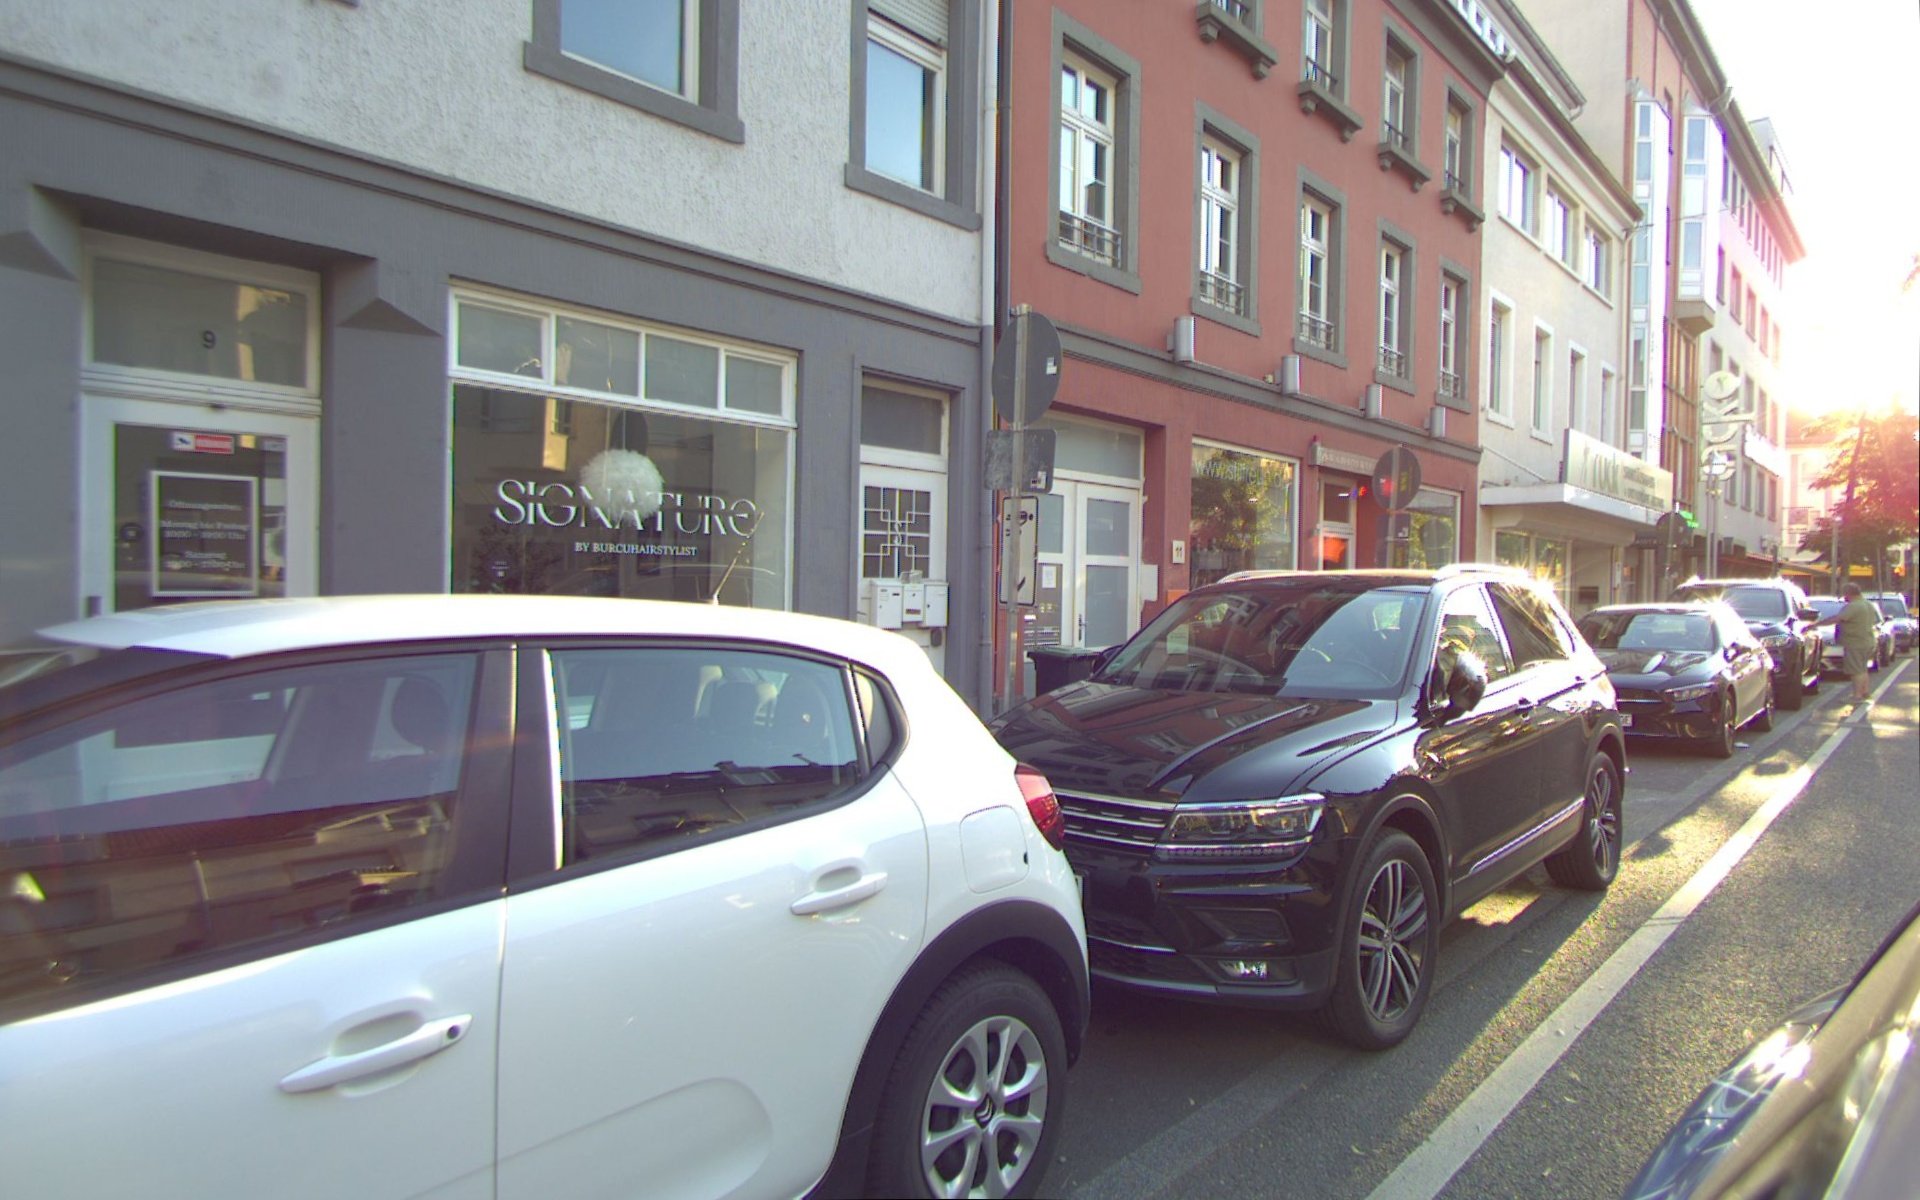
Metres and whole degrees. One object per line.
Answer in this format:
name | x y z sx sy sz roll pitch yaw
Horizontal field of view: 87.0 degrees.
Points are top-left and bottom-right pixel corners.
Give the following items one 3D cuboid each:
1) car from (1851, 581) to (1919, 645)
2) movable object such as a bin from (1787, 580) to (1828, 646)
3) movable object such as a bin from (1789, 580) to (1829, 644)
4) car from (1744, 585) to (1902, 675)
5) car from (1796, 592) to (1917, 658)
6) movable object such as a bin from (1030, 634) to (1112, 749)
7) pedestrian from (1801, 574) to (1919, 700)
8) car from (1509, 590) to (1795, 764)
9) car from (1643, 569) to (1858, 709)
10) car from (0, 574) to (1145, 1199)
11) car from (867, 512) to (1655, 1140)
car | 27.895 0.384 30.367 1.653 1.801 3.949 0 0 42
movable object such as a bin | 23.520 0.336 28.085 0.834 1.796 1.333 0 0 42
movable object such as a bin | 24.368 0.317 29.046 0.834 1.796 1.187 0 0 42
car | 17.196 0.499 20.068 4.909 1.546 1.814 -1 1 -43
car | 21.312 0.540 23.997 4.433 1.438 1.754 0 0 -43
movable object such as a bin | 0.991 0.799 9.046 0.553 0.950 0.477 1 1 44
pedestrian | 12.788 0.491 14.384 0.980 1.697 0.901 2 1 19
car | 7.652 0.656 11.017 4.236 1.502 1.763 -1 1 -44
car | 12.017 0.450 15.235 4.975 1.776 1.885 -1 1 -44
car | -1.439 0.661 1.925 3.740 1.395 1.668 -1 1 -44
car | 1.737 0.574 4.823 4.136 1.688 1.813 -1 1 -44
